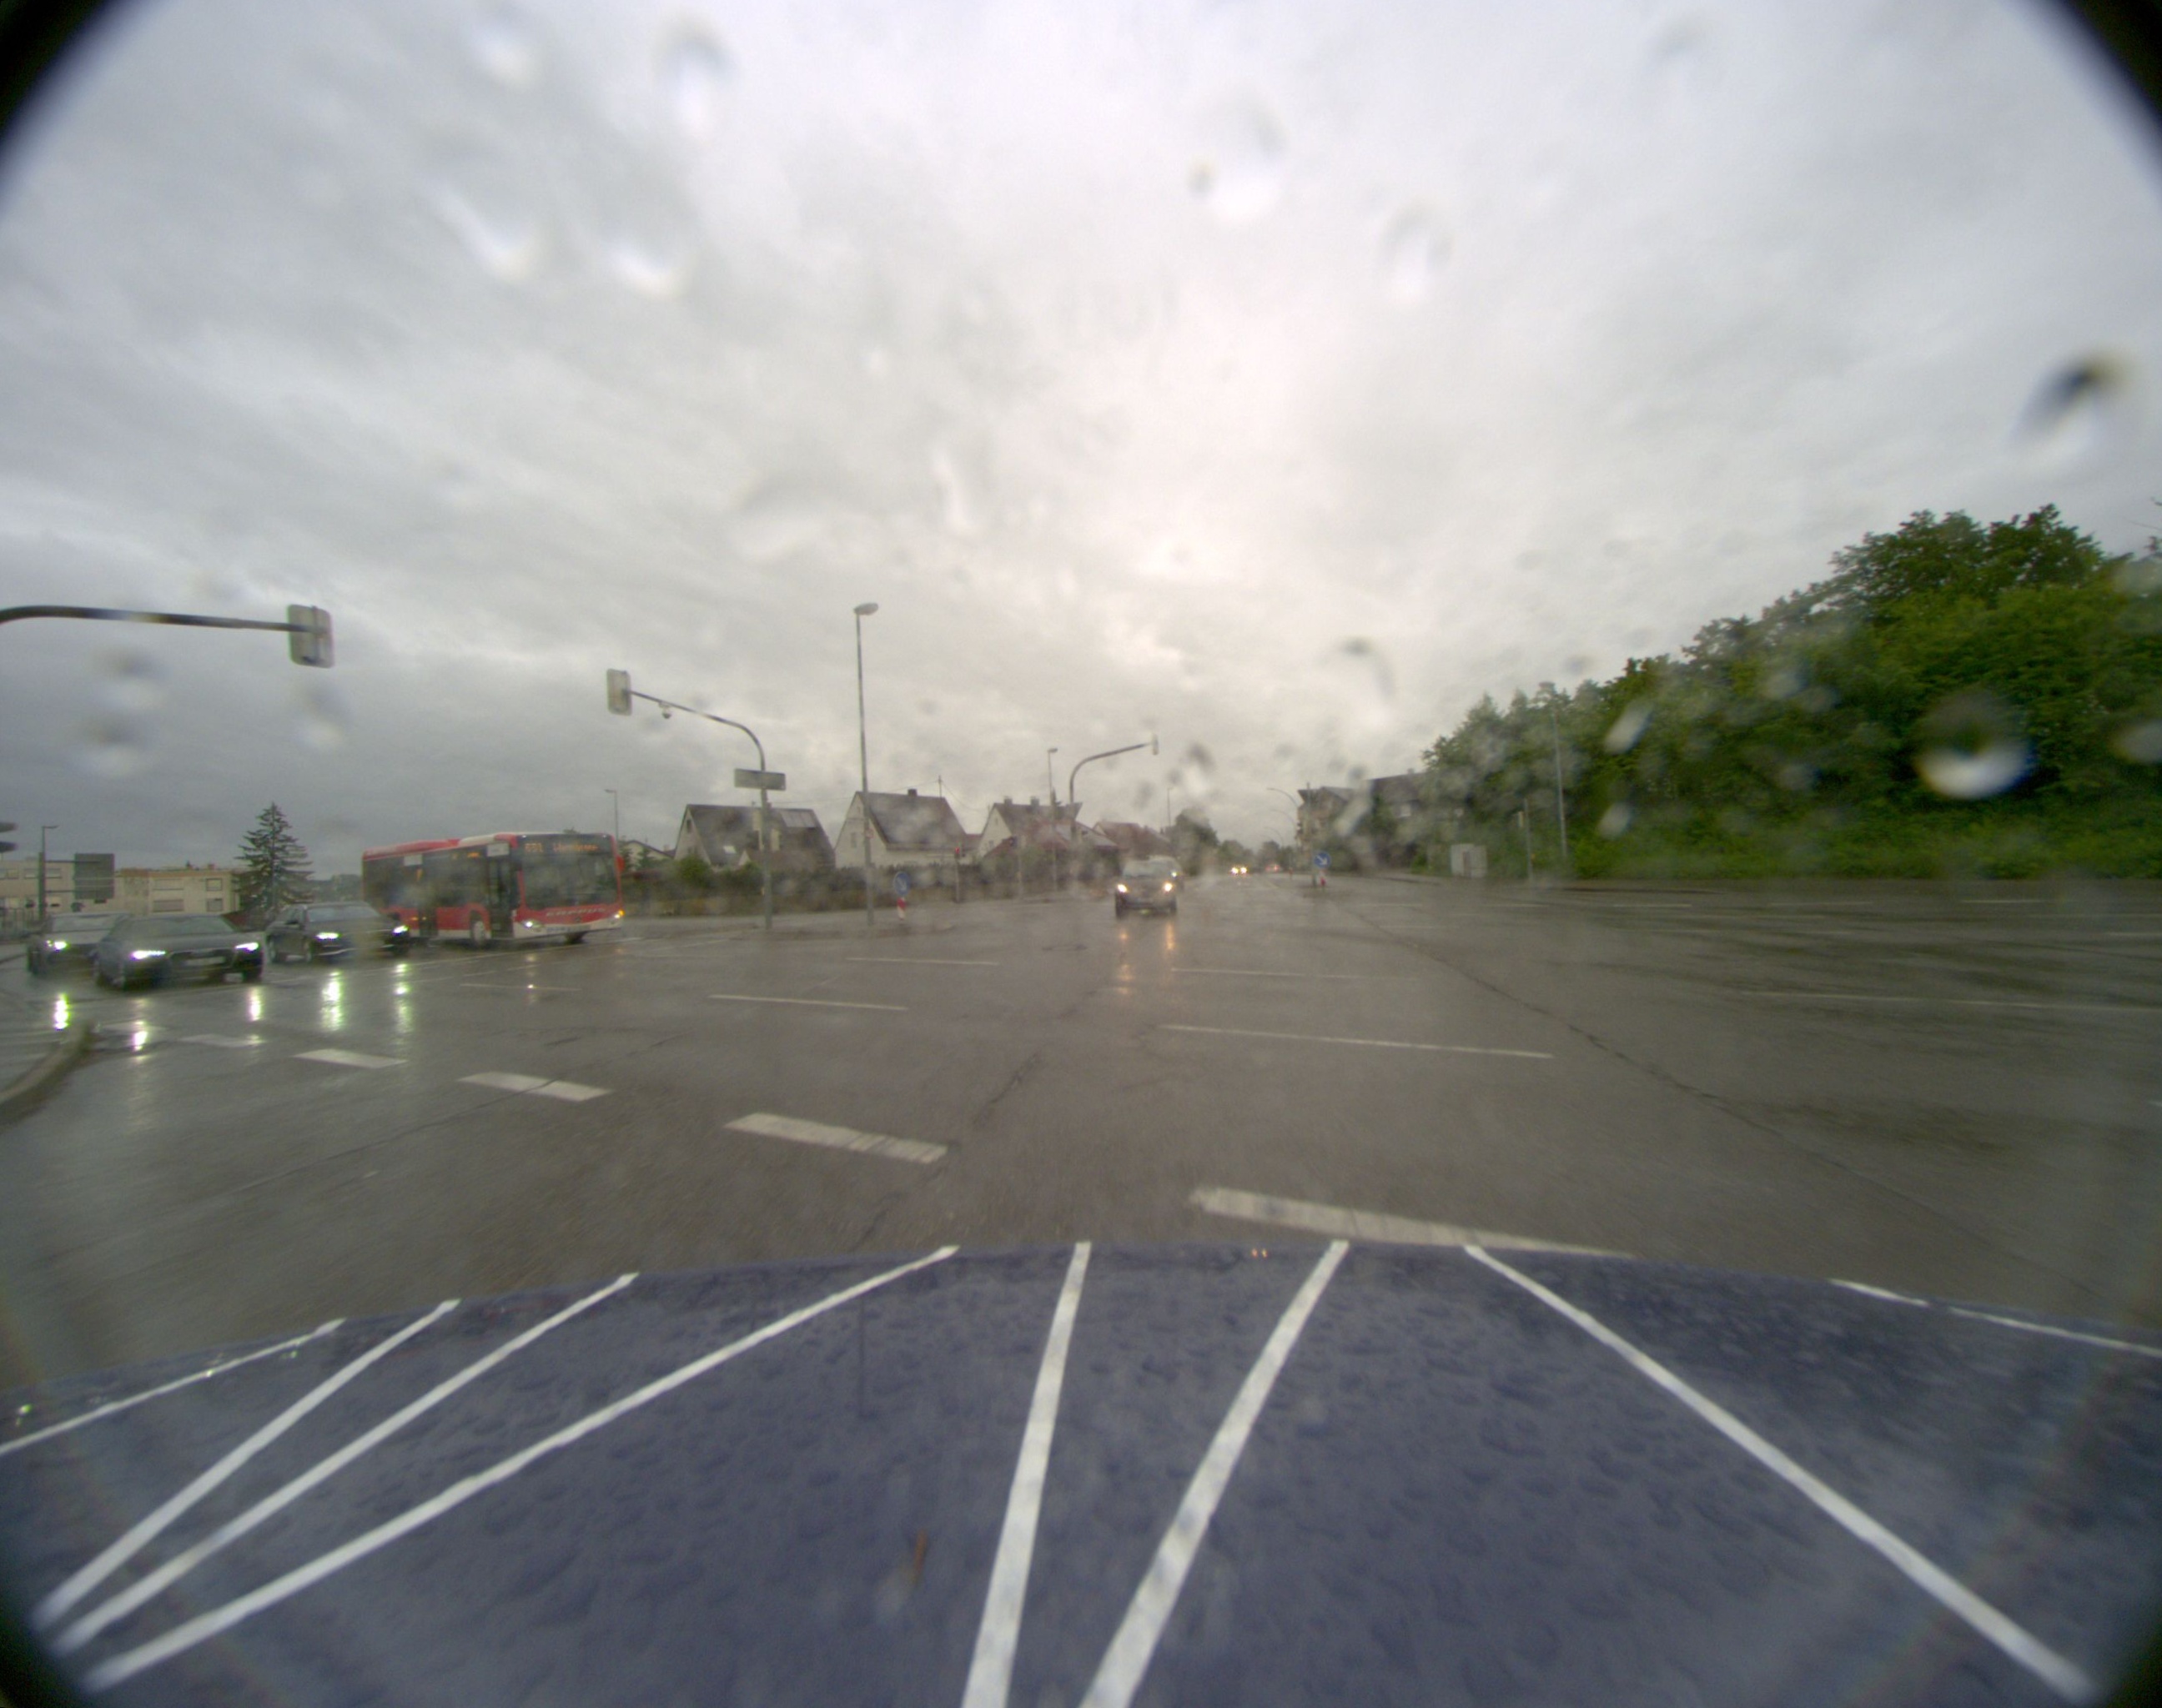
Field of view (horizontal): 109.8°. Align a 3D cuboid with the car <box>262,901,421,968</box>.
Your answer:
[{"bbox_3d":[-19.314,2.045,19.799,4.580,1.459,1.906,-3,-1,32],"label":"car"}]

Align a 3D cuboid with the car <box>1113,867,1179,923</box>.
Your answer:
[{"bbox_3d":[1.967,1.118,22.037,1.665,1.409,3.935,-3,-1,8],"label":"car"}]

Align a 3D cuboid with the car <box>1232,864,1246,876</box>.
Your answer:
[{"bbox_3d":[22.518,2.283,108.257,1.756,1.547,3.922,-3,0,9],"label":"car"}]

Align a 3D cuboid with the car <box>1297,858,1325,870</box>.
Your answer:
[{"bbox_3d":[30.691,1.330,101.346,4.007,1.538,1.662,-2,0,-41],"label":"car"}]

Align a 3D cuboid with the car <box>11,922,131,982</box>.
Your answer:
[{"bbox_3d":[-31.236,2.952,23.466,4.382,1.529,1.829,-3,-1,32],"label":"car"}]

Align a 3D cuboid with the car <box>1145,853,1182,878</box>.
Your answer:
[{"bbox_3d":[8.510,1.180,78.068,1.650,2.336,4.008,-3,-1,41],"label":"car"}]

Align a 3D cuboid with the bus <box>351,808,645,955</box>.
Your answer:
[{"bbox_3d":[-18.111,1.082,23.073,12.262,3.555,2.992,-5,-1,33],"label":"bus"}]

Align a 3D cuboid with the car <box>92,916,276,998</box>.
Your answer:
[{"bbox_3d":[-18.664,2.045,15.762,4.382,1.346,1.829,-3,-1,32],"label":"car"}]

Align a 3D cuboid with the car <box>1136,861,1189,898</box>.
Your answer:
[{"bbox_3d":[3.696,1.115,34.022,1.897,1.473,4.004,-2,-1,12],"label":"car"}]

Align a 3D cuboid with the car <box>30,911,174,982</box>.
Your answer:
[{"bbox_3d":[-25.521,2.335,19.777,4.382,1.529,1.829,-3,-1,32],"label":"car"}]

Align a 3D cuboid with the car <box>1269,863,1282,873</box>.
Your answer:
[{"bbox_3d":[30.406,2.133,119.085,1.623,1.496,3.825,-1,-1,9],"label":"car"}]
